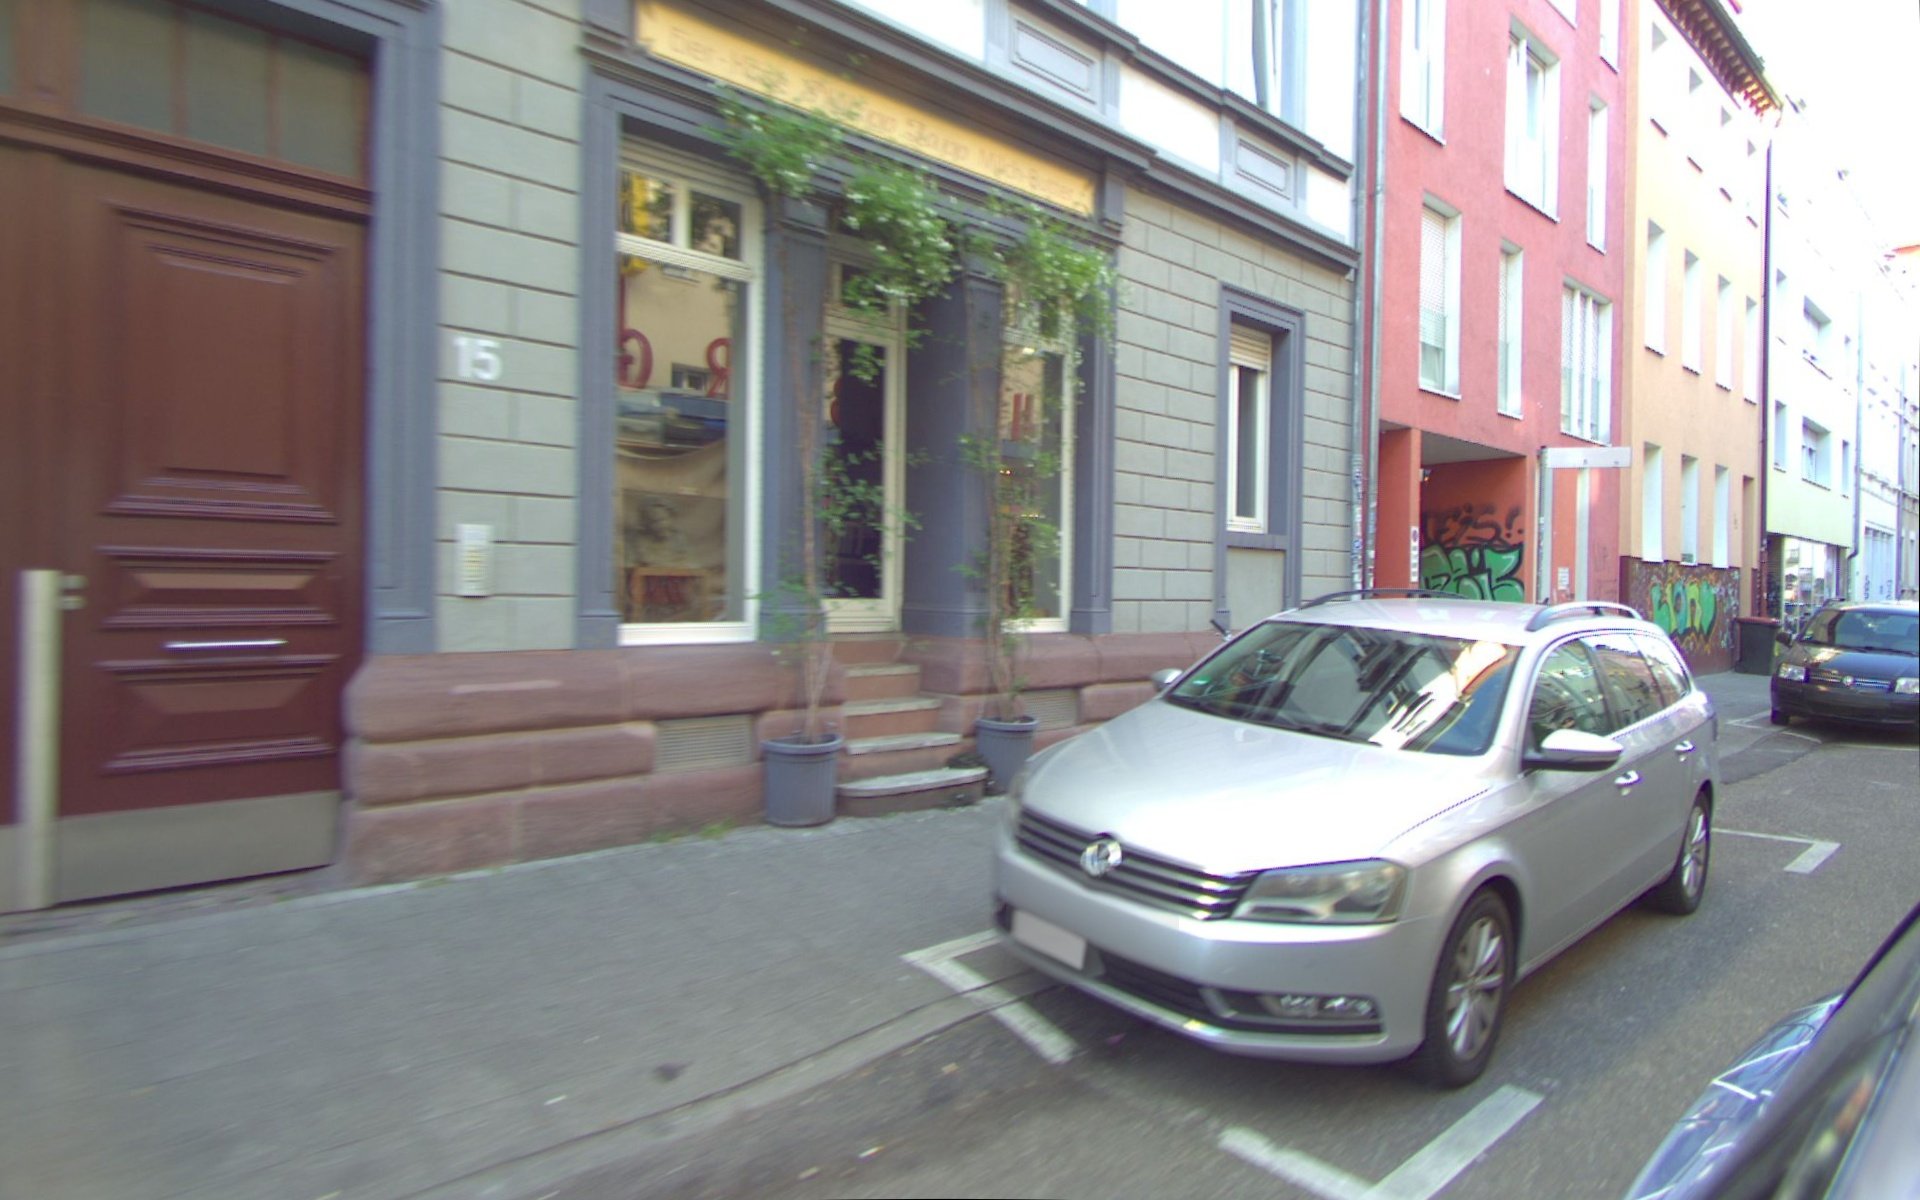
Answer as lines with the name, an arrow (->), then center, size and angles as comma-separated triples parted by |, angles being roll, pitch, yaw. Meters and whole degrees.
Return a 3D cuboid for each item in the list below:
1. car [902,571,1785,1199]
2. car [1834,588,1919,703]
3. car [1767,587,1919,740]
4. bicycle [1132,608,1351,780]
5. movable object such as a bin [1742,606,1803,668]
car -> 2.074, 0.692, 4.603 | 4.467, 1.471, 1.790 | 0, 4, -41
car -> 14.915, 0.644, 15.398 | 4.096, 1.575, 1.750 | 0, 1, -39
car -> 11.317, 0.683, 12.291 | 3.388, 1.558, 1.606 | 0, 4, -39
bicycle -> 2.227, 0.654, 7.871 | 1.869, 1.110, 0.711 | -1, 4, -43
movable object such as a bin -> 15.005, 0.673, 18.686 | 0.723, 1.070, 0.694 | 0, 3, -39
